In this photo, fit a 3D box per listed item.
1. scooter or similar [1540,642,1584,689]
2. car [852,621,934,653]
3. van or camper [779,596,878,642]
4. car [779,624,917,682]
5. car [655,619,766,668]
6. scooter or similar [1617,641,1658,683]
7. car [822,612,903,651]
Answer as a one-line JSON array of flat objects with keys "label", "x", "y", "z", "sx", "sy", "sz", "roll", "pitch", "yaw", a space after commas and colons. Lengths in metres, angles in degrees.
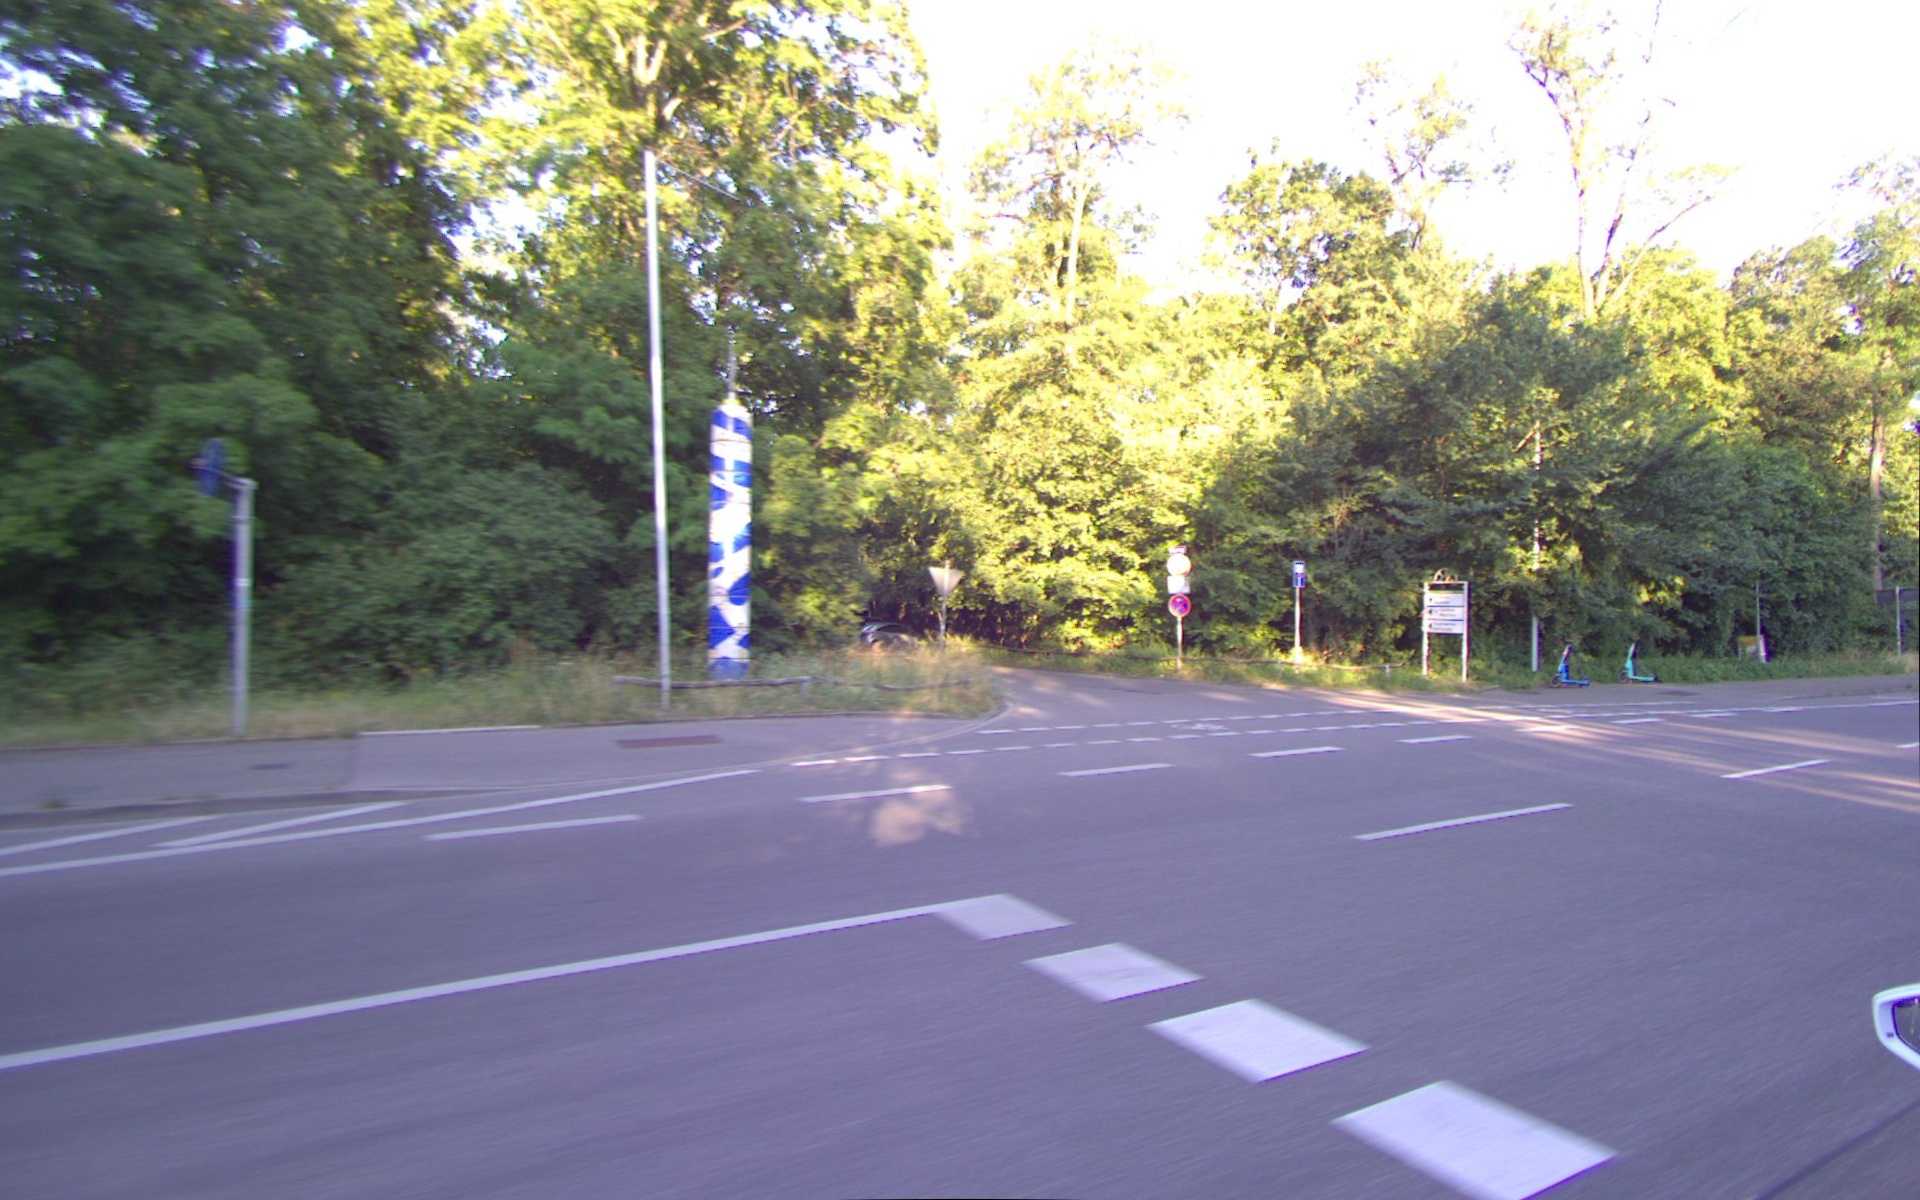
[{"label": "scooter or similar", "x": 14.974, "y": 1.630, "z": 25.000, "sx": 0.862, "sy": 1.124, "sz": 0.362, "roll": 1, "pitch": -1, "yaw": 12}, {"label": "car", "x": -3.232, "y": 1.781, "z": 48.471, "sx": 3.620, "sy": 1.527, "sz": 1.597, "roll": 1, "pitch": -1, "yaw": -23}, {"label": "van or camper", "x": -7.250, "y": 1.027, "z": 55.471, "sx": 5.037, "sy": 2.408, "sz": 1.982, "roll": 1, "pitch": 0, "yaw": -32}, {"label": "car", "x": -3.040, "y": 1.408, "z": 27.225, "sx": 3.302, "sy": 1.471, "sz": 1.737, "roll": 1, "pitch": -1, "yaw": -29}, {"label": "car", "x": -9.188, "y": 1.579, "z": 37.050, "sx": 3.629, "sy": 1.708, "sz": 1.736, "roll": 1, "pitch": -1, "yaw": -30}, {"label": "scooter or similar", "x": 18.071, "y": 1.643, "z": 26.794, "sx": 0.885, "sy": 1.082, "sz": 0.494, "roll": 0, "pitch": -1, "yaw": 35}, {"label": "car", "x": -4.927, "y": 1.573, "z": 50.640, "sx": 3.629, "sy": 1.885, "sz": 1.900, "roll": 1, "pitch": -1, "yaw": -30}]
